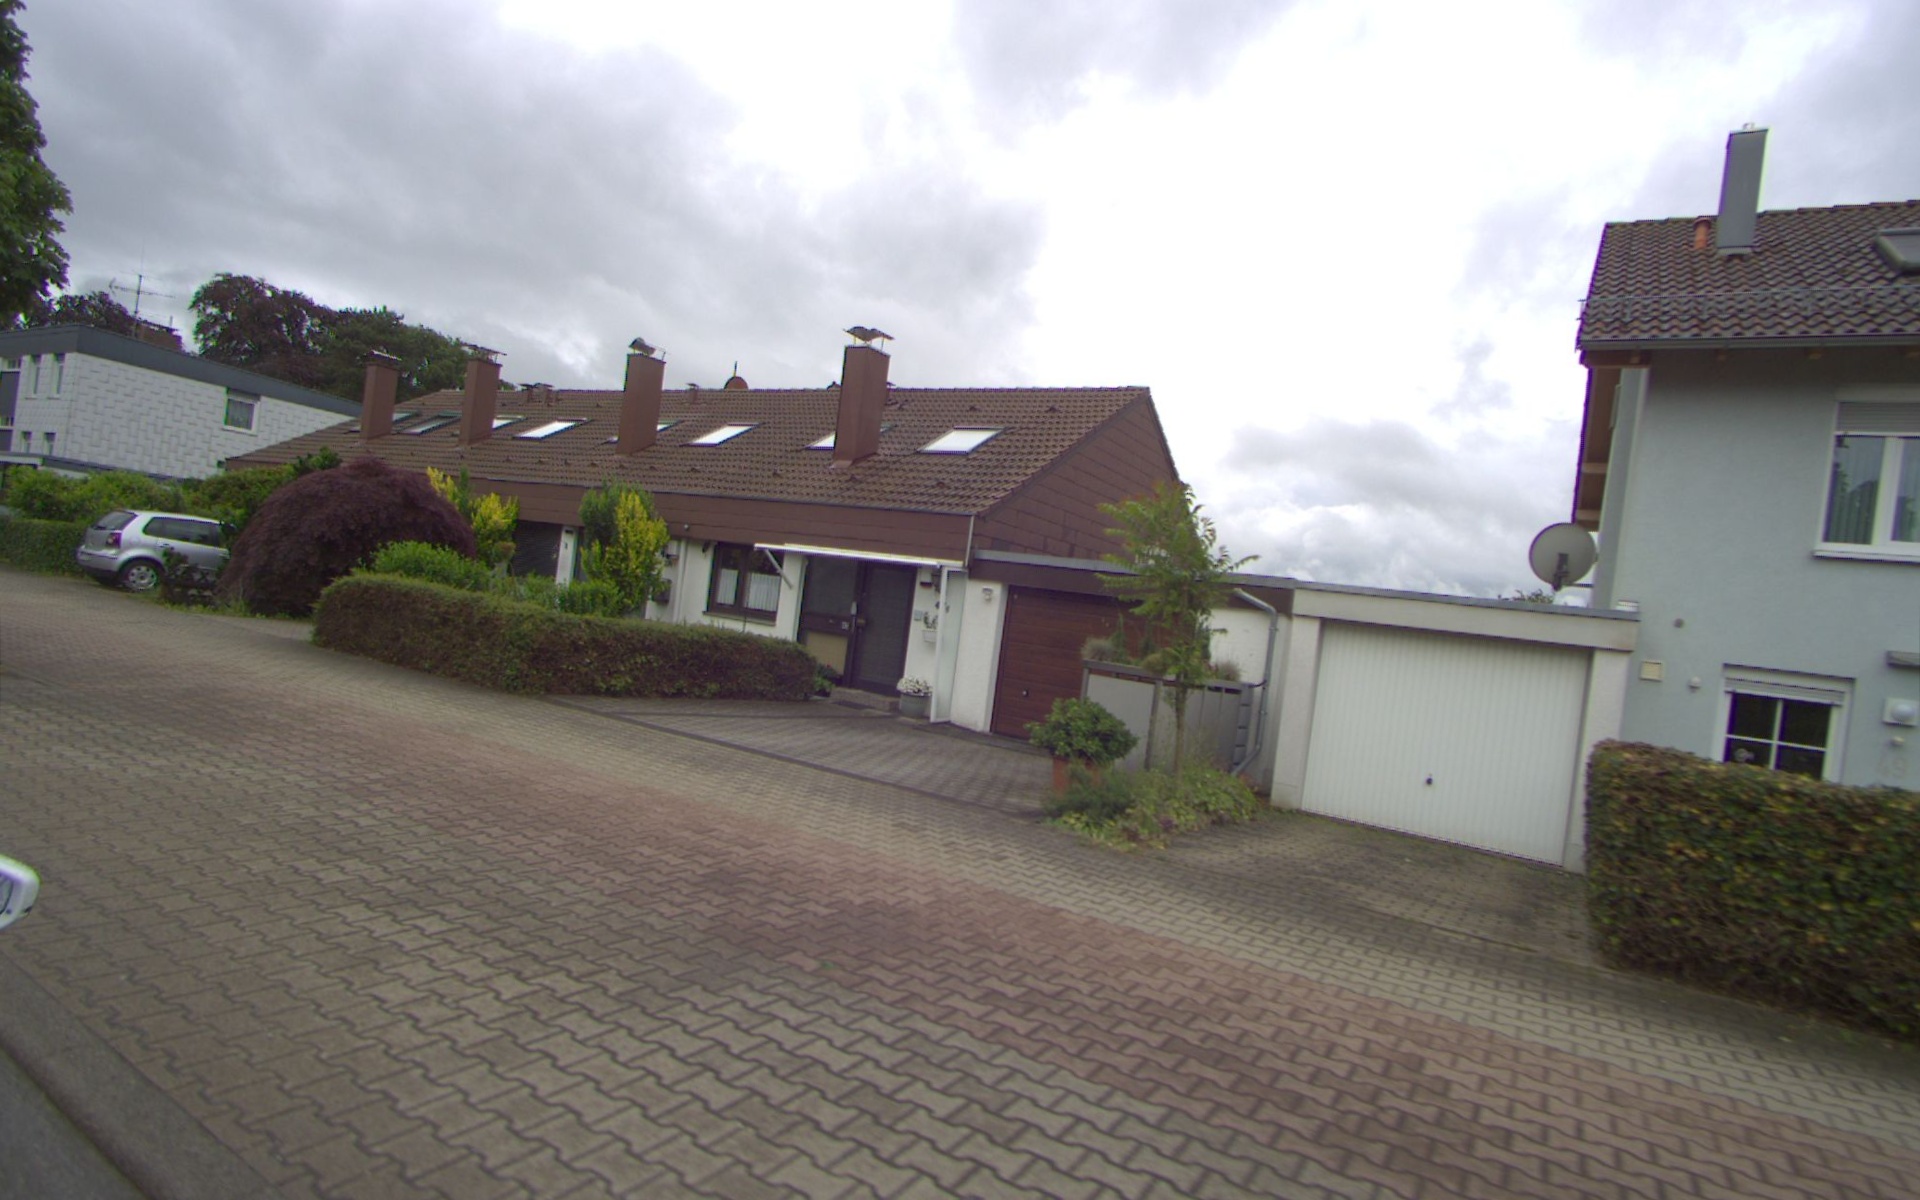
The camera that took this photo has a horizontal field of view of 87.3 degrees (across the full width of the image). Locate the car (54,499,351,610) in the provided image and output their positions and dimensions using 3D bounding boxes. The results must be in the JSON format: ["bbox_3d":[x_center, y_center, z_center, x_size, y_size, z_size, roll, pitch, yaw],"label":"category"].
[{"bbox_3d":[-14.078,-0.793,18.951,1.816,1.459,3.995,6,-2,30],"label":"car"}]
